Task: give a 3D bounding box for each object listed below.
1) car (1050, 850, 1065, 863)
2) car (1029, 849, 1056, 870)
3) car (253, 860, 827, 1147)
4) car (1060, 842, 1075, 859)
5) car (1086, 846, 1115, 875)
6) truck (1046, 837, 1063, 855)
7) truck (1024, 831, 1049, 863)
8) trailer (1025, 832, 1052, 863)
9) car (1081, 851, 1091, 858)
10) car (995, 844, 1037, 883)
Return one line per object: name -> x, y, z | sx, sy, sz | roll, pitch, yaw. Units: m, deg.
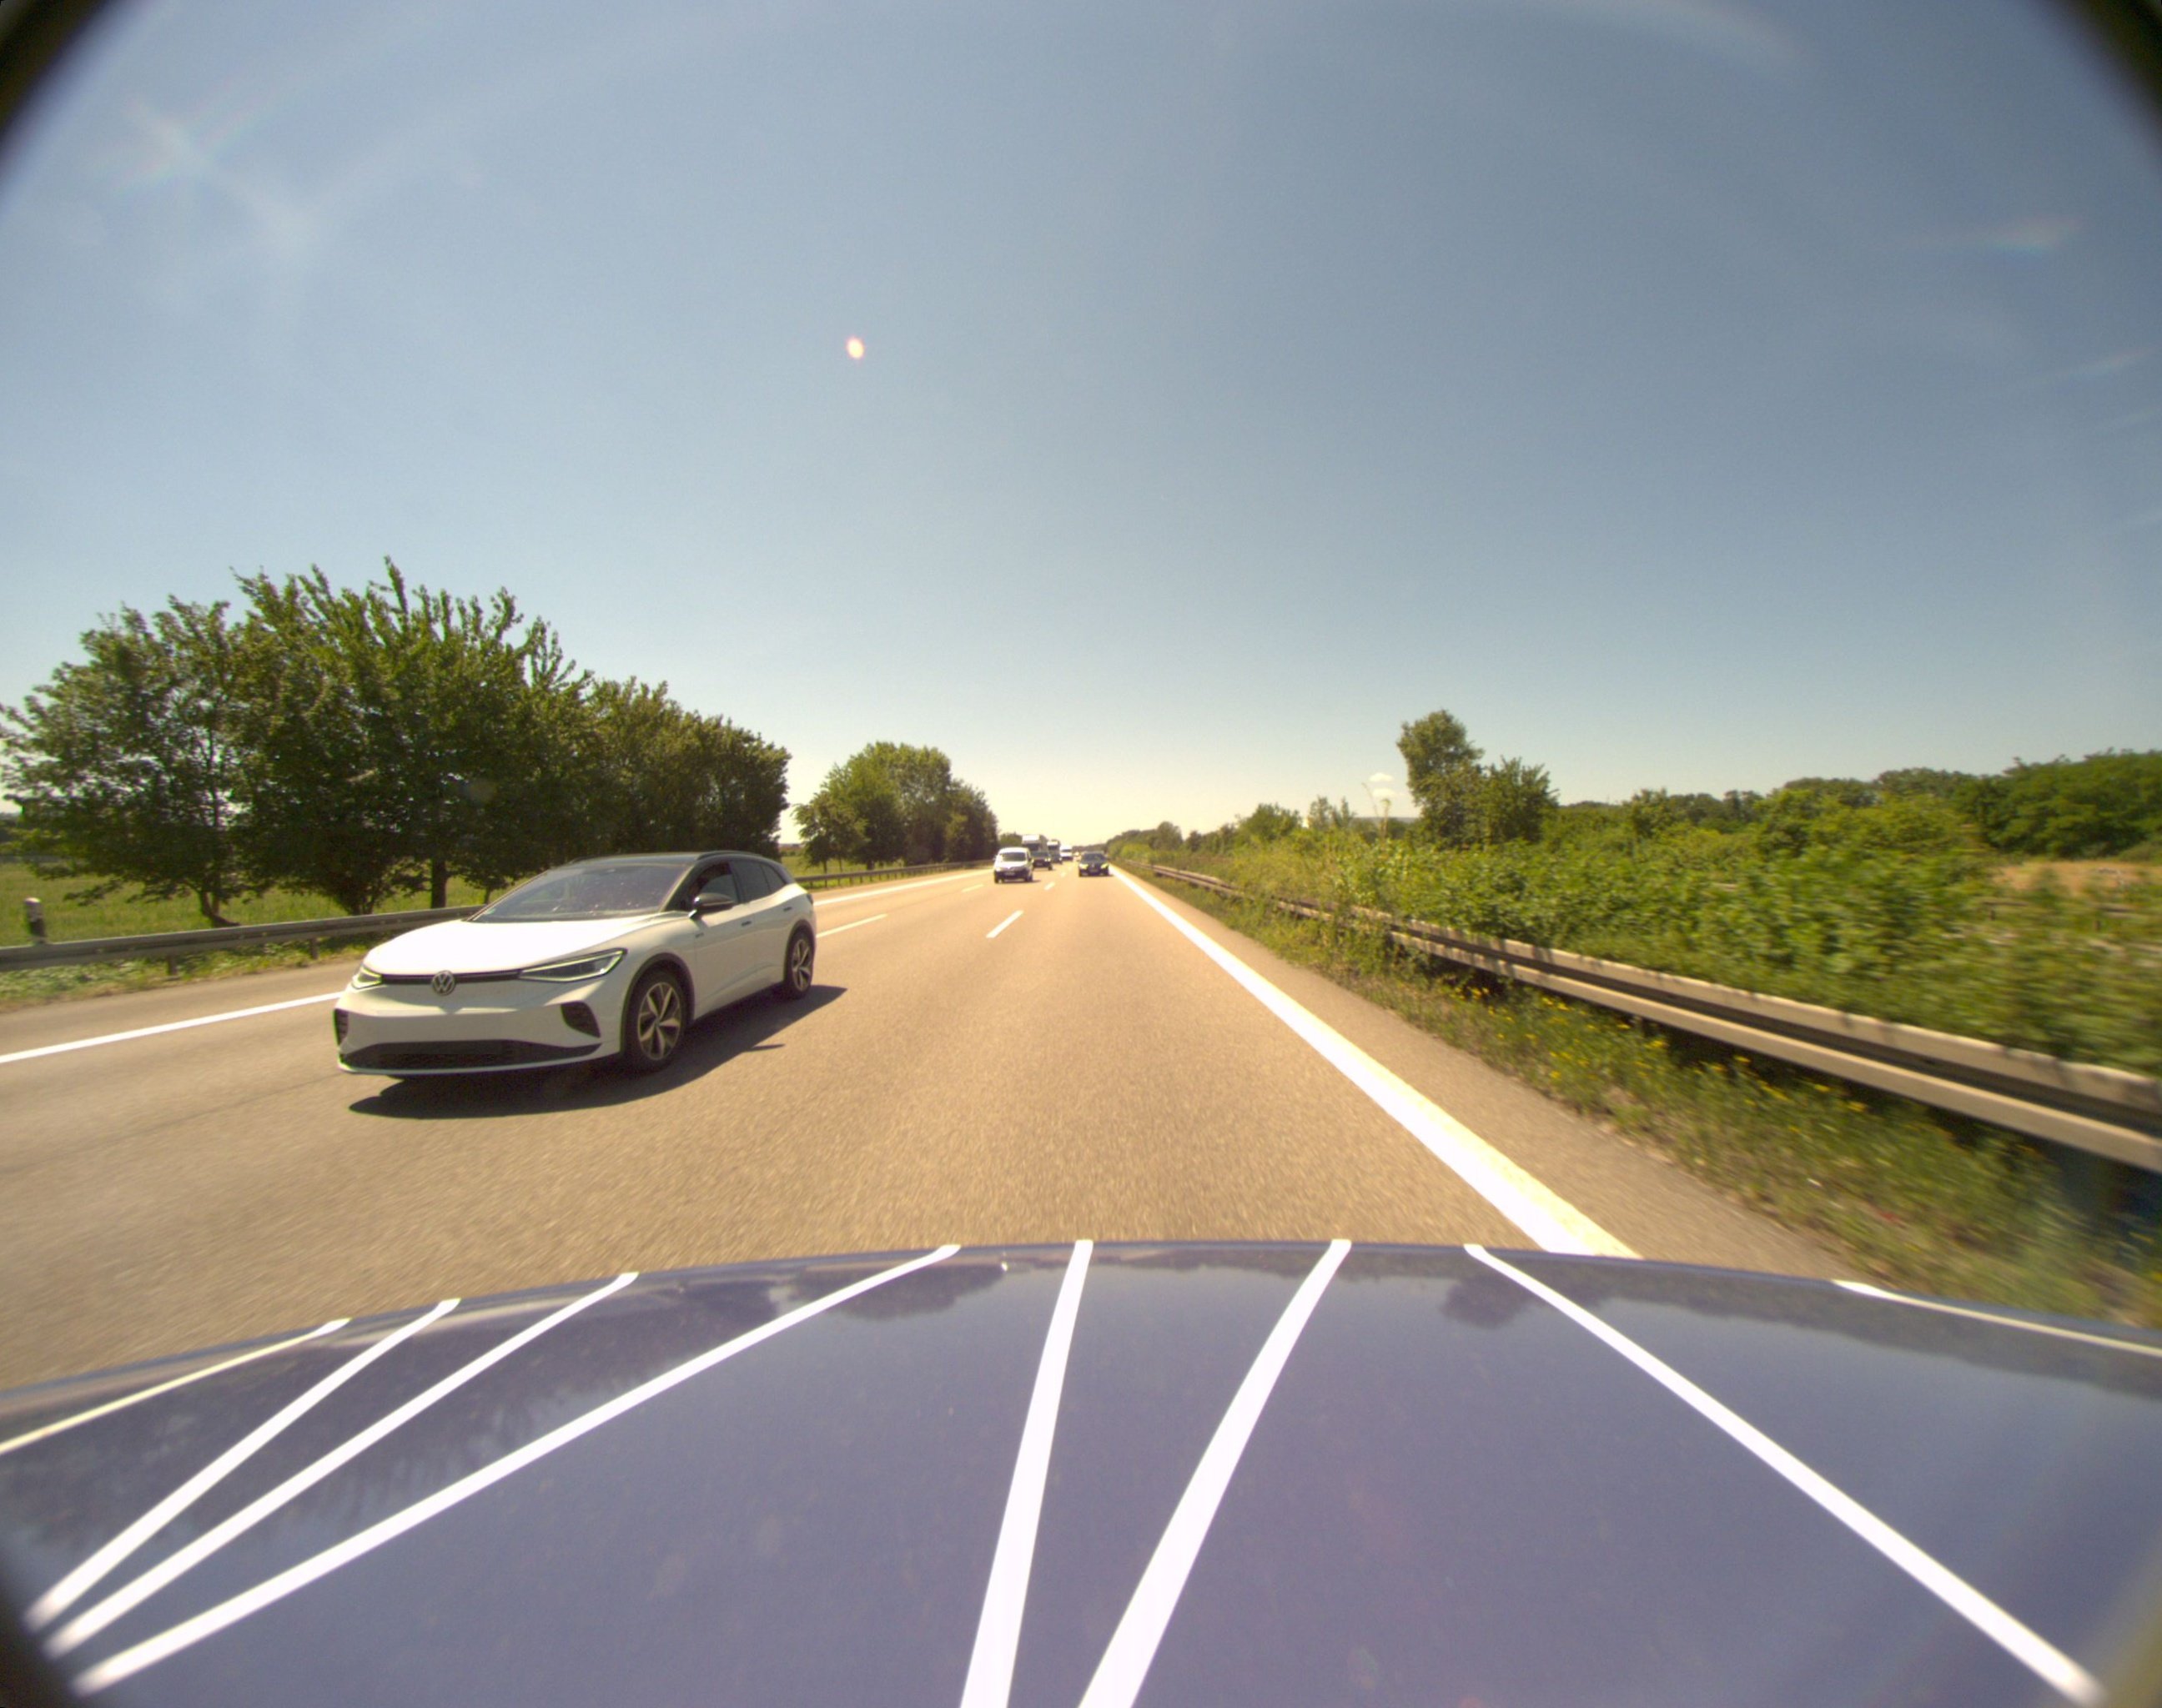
car -> -2.868, 0.313, 93.287 | 1.692, 1.465, 3.432 | -1, 0, -1
car -> -3.312, 0.456, 65.825 | 1.871, 1.665, 4.746 | -2, 0, 2
car -> -3.937, 0.909, 6.691 | 1.807, 1.593, 4.380 | -2, 0, 1
car -> -2.022, -0.499, 118.487 | 2.159, 2.494, 5.945 | -2, 0, -1
car -> 1.179, 0.368, 46.748 | 1.690, 1.646, 3.462 | -2, 0, 1
truck -> -5.857, -1.716, 169.182 | 2.698, 3.943, 7.707 | -2, 0, 6
truck -> -6.264, -0.937, 106.900 | 2.817, 4.279, 7.193 | -2, 0, 1
trailer -> -6.162, -0.965, 113.059 | 2.817, 4.279, 14.254 | -2, 0, 1
car -> 1.036, 0.108, 161.031 | 1.755, 1.365, 3.710 | -2, 0, 6
car -> -3.424, 0.466, 40.515 | 1.858, 1.852, 4.701 | -2, 0, -1
